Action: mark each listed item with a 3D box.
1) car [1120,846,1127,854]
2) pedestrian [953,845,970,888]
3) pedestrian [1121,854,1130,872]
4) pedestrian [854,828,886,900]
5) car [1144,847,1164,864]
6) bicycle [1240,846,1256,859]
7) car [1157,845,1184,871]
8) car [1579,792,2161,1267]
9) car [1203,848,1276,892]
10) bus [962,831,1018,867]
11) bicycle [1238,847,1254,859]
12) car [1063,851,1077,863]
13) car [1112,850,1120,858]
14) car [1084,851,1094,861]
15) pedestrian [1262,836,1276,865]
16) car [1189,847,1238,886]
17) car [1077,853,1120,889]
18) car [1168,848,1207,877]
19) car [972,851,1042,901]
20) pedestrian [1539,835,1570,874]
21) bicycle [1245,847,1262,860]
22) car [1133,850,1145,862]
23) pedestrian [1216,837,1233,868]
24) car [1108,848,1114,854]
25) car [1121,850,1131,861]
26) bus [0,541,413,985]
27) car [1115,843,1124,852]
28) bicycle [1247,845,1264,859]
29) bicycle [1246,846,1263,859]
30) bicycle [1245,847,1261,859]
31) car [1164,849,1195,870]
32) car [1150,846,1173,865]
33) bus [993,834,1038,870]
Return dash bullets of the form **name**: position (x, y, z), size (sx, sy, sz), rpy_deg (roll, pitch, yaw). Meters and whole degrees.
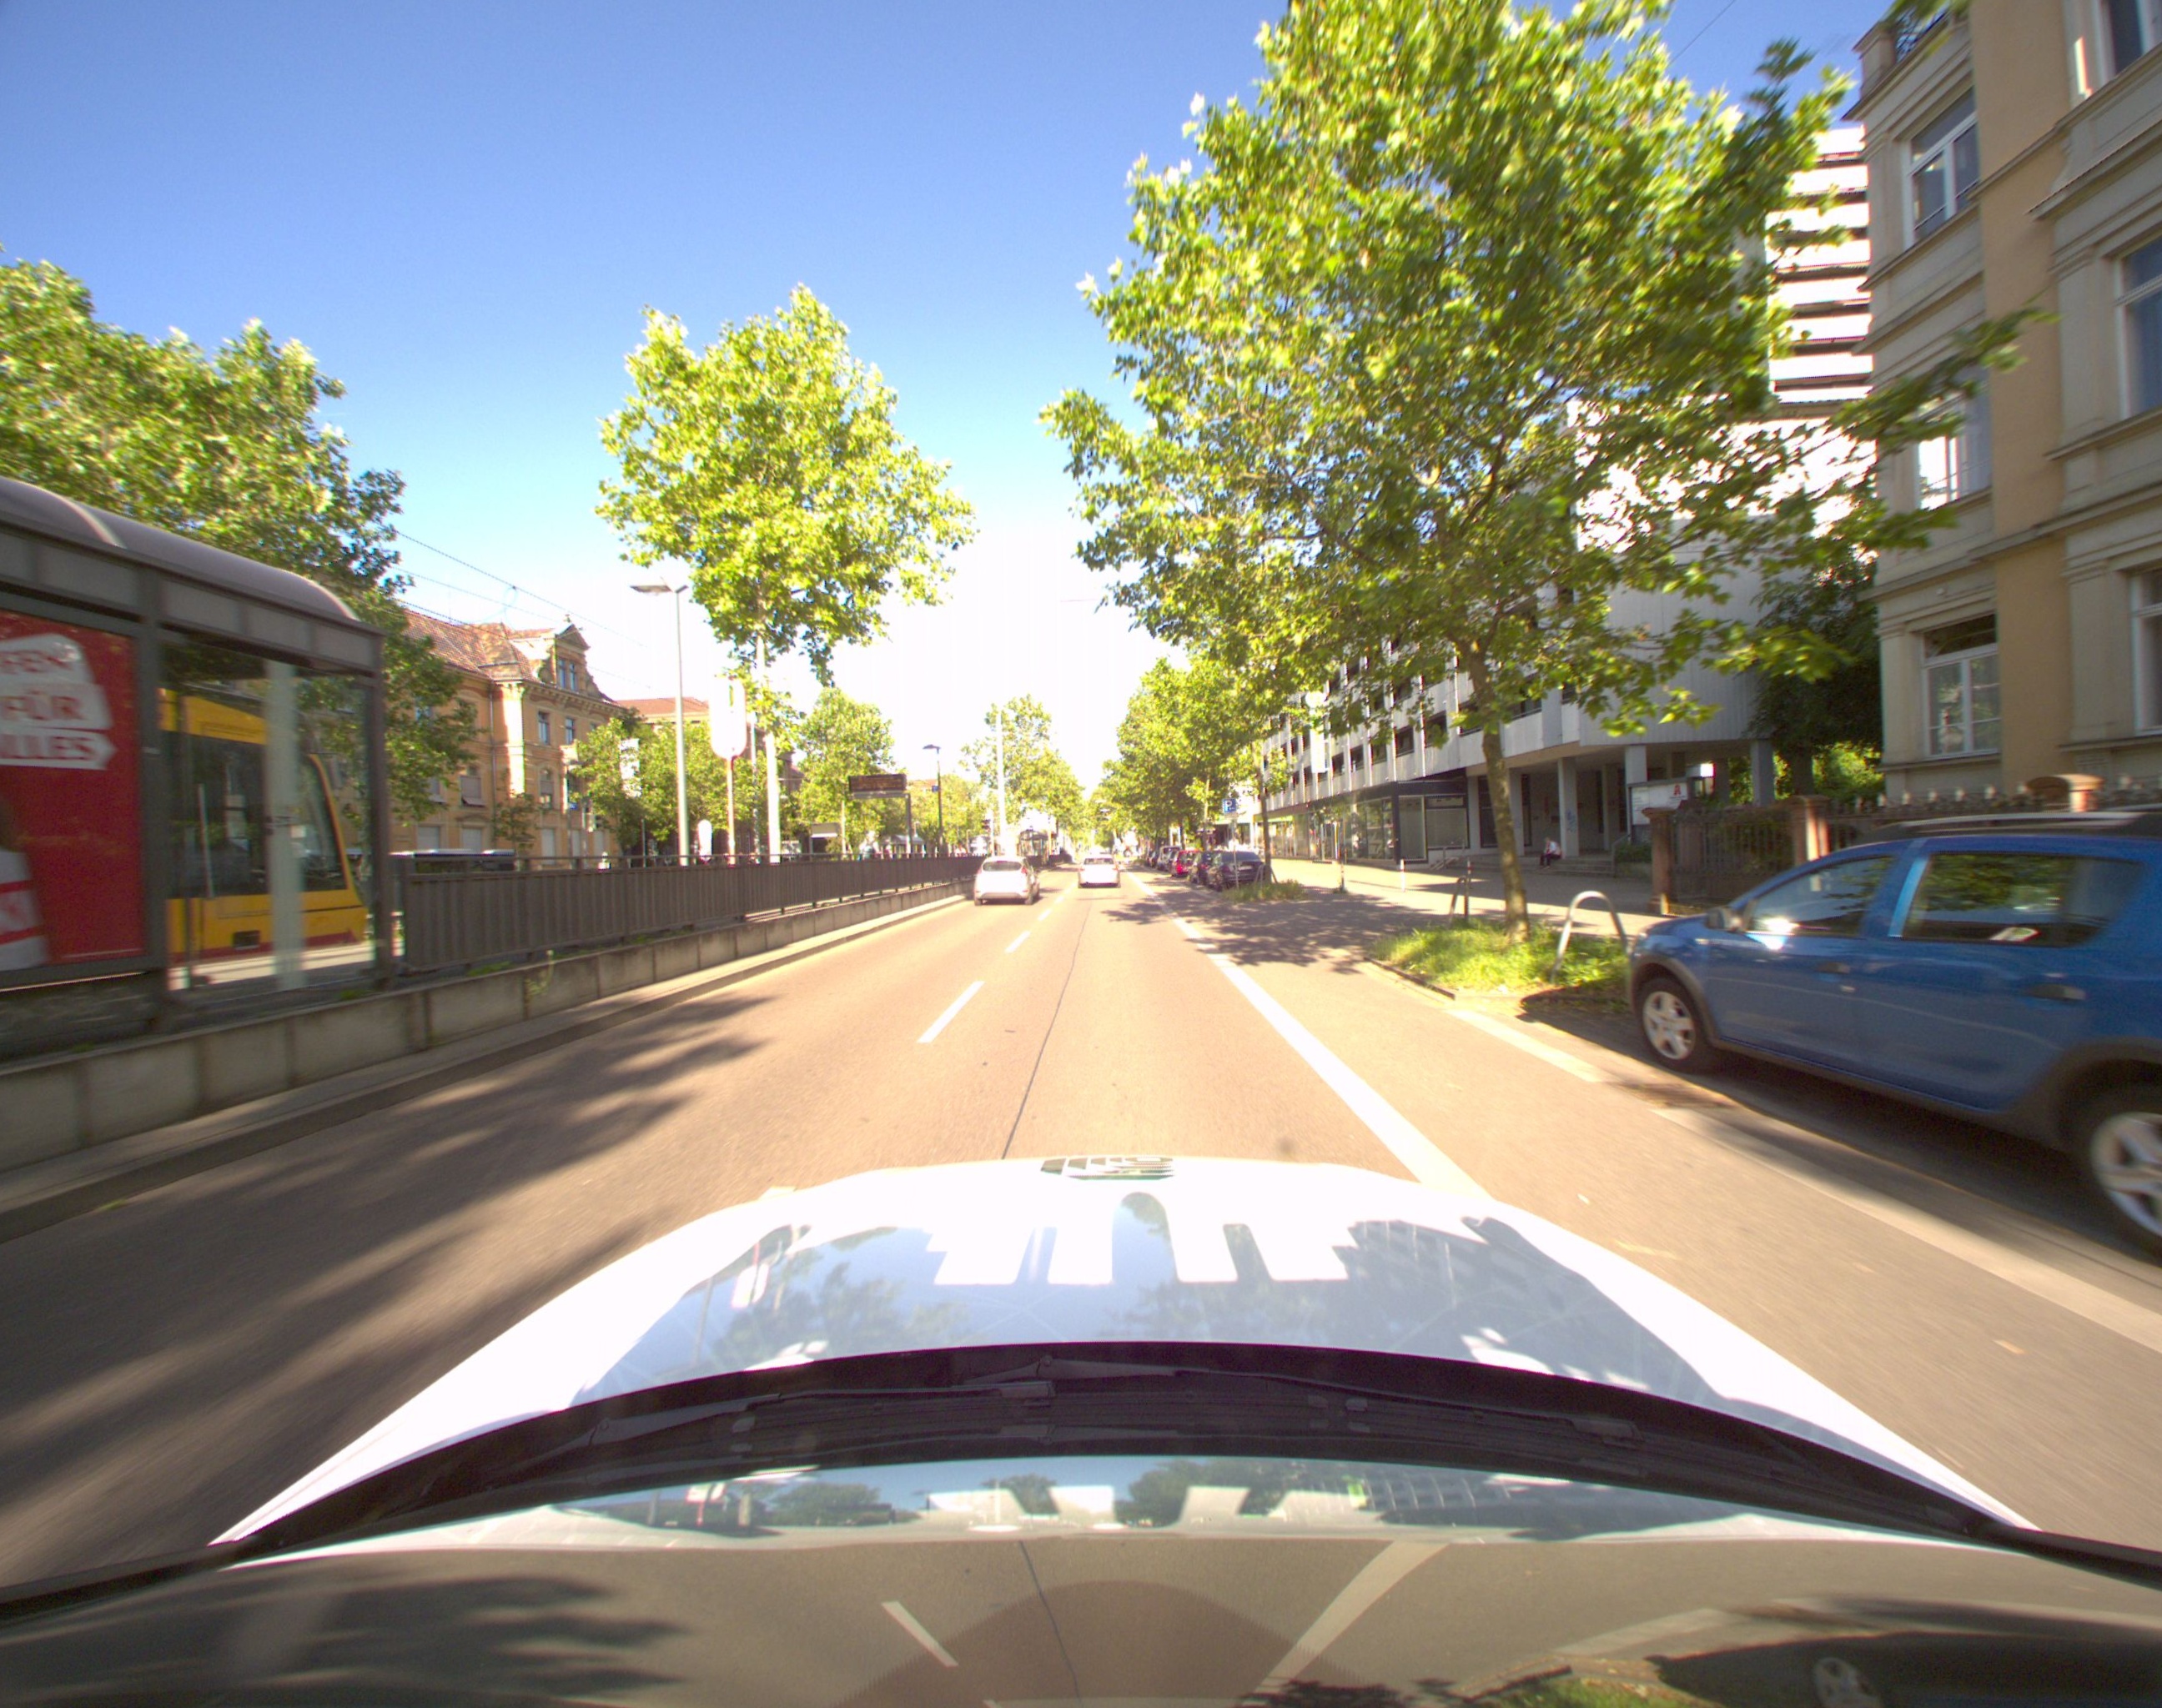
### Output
- **car**: position (11.447, -1.101, 217.889), size (1.868, 2.013, 3.713), rpy_deg (0, 1, 2)
- **pedestrian**: position (-5.506, 0.555, 37.603), size (0.636, 1.954, 0.814), rpy_deg (0, 0, 2)
- **pedestrian**: position (4.887, 0.990, 89.586), size (0.833, 2.013, 0.650), rpy_deg (0, 0, 9)
- **pedestrian**: position (-5.860, 0.274, 22.601), size (0.636, 1.954, 0.814), rpy_deg (0, 0, 2)
- **car**: position (6.946, 0.114, 77.549), size (1.694, 1.534, 3.719), rpy_deg (0, 1, 2)
- **bicycle**: position (14.589, -0.144, 71.125), size (1.378, 1.098, 0.243), rpy_deg (0, 0, 1)
- **car**: position (6.713, 0.262, 61.211), size (1.718, 1.880, 4.002), rpy_deg (0, 0, 2)
- **car**: position (4.636, 0.556, 4.243), size (1.685, 1.658, 4.041), rpy_deg (-2, 1, 2)
- **car**: position (5.813, 0.570, 30.387), size (1.986, 1.509, 4.600), rpy_deg (0, 0, 2)
- **bus**: position (-10.308, -0.610, 95.989), size (2.858, 3.628, 24.617), rpy_deg (-2, 0, 2)
- **bicycle**: position (14.532, -0.068, 71.712), size (1.378, 1.012, 0.243), rpy_deg (0, 0, 1)
- **car**: position (-1.717, 0.462, 129.180), size (1.986, 1.816, 4.002), rpy_deg (0, 1, 2)
- **car**: position (8.892, 0.078, 207.070), size (2.063, 2.013, 4.002), rpy_deg (-2, 0, 2)
- **car**: position (1.668, 0.314, 171.020), size (1.986, 2.013, 4.002), rpy_deg (0, 1, 2)
- **pedestrian**: position (13.600, -0.250, 58.960), size (0.785, 2.013, 0.891), rpy_deg (-2, 0, 2)
- **car**: position (5.744, 0.497, 35.655), size (1.663, 1.551, 4.002), rpy_deg (0, 1, 2)
- **car**: position (0.754, 0.682, 35.196), size (1.756, 1.432, 4.001), rpy_deg (-1, 0, 1)
- **car**: position (5.934, 0.468, 45.669), size (1.799, 1.520, 4.002), rpy_deg (0, 0, 2)
- **car**: position (-2.176, 0.614, 24.903), size (1.640, 1.362, 3.762), rpy_deg (0, 1, 2)
- **pedestrian**: position (16.484, 0.010, 28.350), size (0.714, 1.357, 0.745), rpy_deg (0, 1, 9)
- **bicycle**: position (14.658, -0.066, 69.075), size (1.378, 1.055, 0.243), rpy_deg (0, 0, 1)
- **car**: position (9.019, 0.307, 126.523), size (1.802, 1.791, 3.913), rpy_deg (0, 1, 2)
- **pedestrian**: position (9.696, -0.108, 55.034), size (0.960, 2.013, 0.939), rpy_deg (-2, 0, 2)
- **car**: position (9.610, -0.899, 258.460), size (1.986, 2.013, 4.002), rpy_deg (0, 1, 2)
- **car**: position (8.928, 0.290, 161.006), size (1.986, 2.013, 4.002), rpy_deg (0, 1, 2)
- **bus**: position (-9.874, -0.648, 4.174), size (2.858, 3.444, 11.618), rpy_deg (-2, 0, 2)
- **car**: position (9.173, -1.608, 194.888), size (1.986, 2.013, 4.001), rpy_deg (-2, 0, 1)
- **bicycle**: position (14.672, -0.144, 68.451), size (1.378, 1.148, 0.243), rpy_deg (0, 0, 1)
- **bicycle**: position (14.655, -0.123, 68.770), size (1.378, 1.148, 0.243), rpy_deg (0, 0, 1)
- **bicycle**: position (14.649, -0.091, 69.395), size (1.378, 1.058, 0.243), rpy_deg (0, 0, 1)
- **car**: position (6.635, 0.353, 55.214), size (1.774, 1.380, 4.002), rpy_deg (0, 0, 2)
- **car**: position (6.948, 0.121, 70.377), size (1.704, 1.563, 4.002), rpy_deg (0, 1, 2)
- **bus**: position (-7.199, -0.311, 92.766), size (2.739, 3.625, 18.858), rpy_deg (-2, 0, 2)
